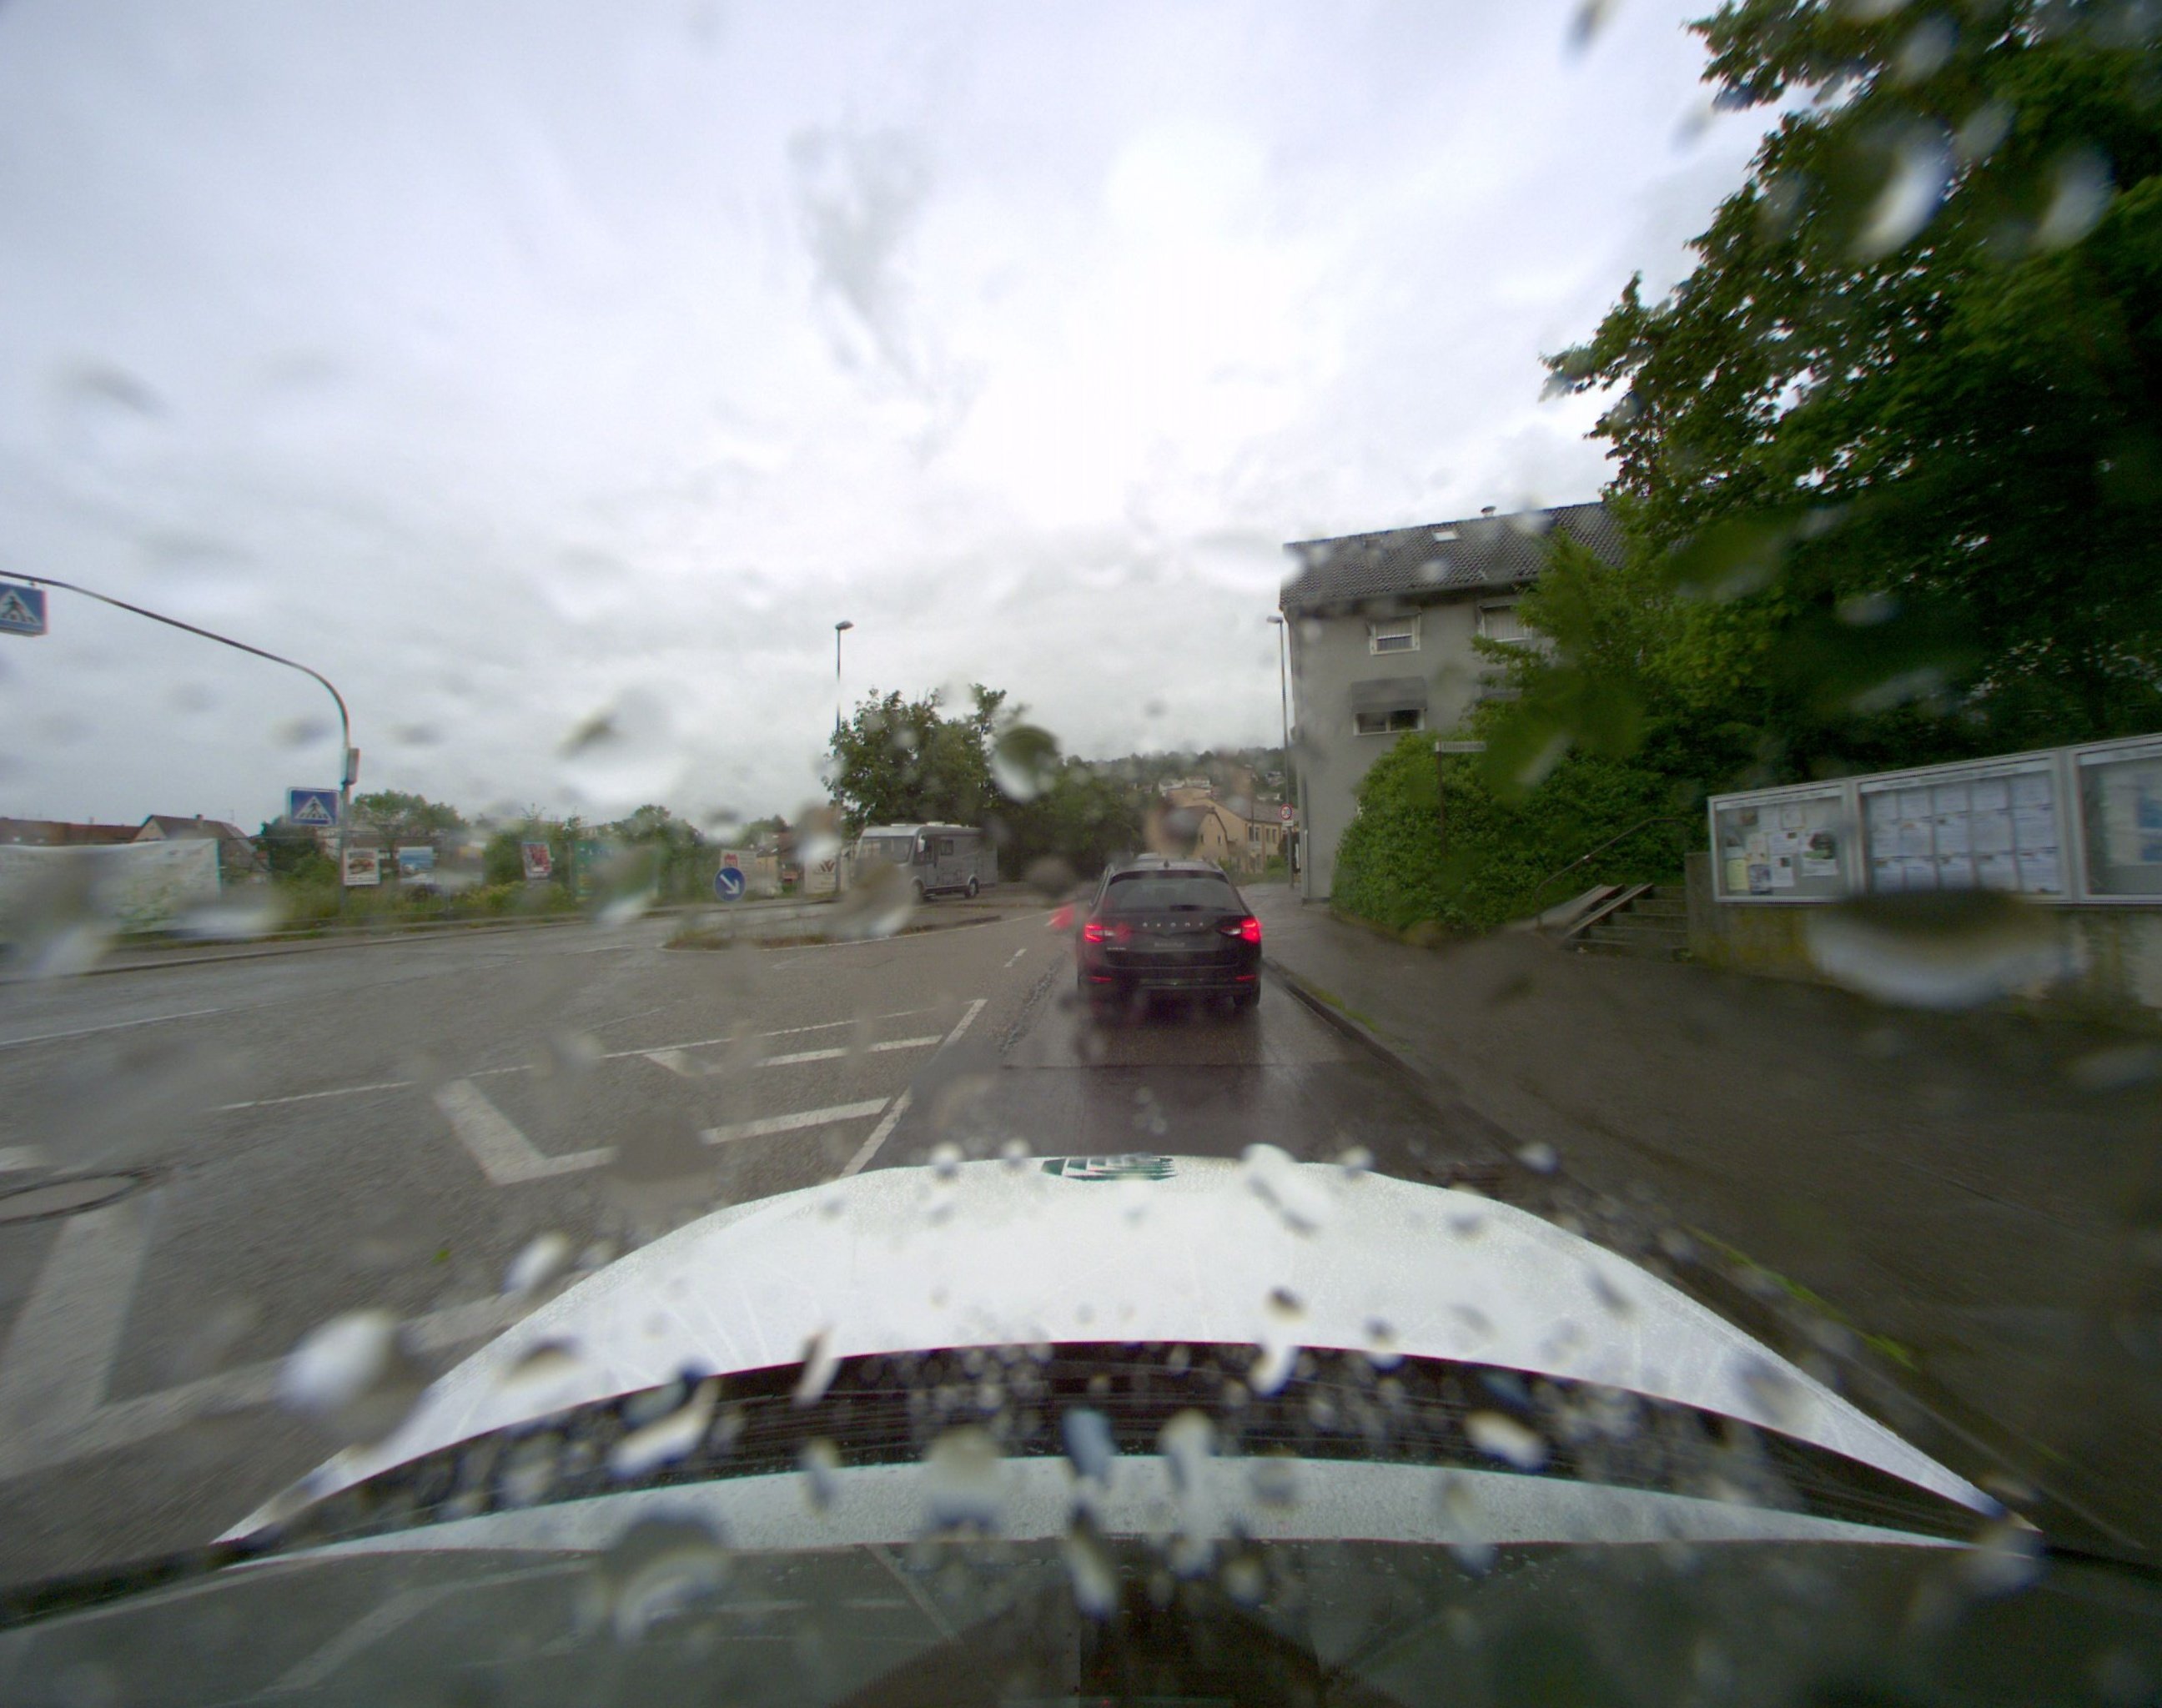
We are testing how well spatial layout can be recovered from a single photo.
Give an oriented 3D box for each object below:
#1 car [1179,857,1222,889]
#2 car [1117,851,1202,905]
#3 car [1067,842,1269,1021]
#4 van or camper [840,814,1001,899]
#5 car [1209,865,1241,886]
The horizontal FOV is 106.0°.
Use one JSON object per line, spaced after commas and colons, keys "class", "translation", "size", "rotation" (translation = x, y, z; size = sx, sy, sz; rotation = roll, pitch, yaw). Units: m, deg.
{"class": "car", "translation": [5.639, 0.868, 38.205], "size": [1.640, 1.387, 3.934], "rotation": [-1, 0, 13]}
{"class": "car", "translation": [2.347, 0.746, 23.362], "size": [1.805, 1.360, 4.003], "rotation": [-2, -4, 14]}
{"class": "car", "translation": [0.821, 0.657, 9.311], "size": [1.775, 1.483, 4.248], "rotation": [0, 2, 1]}
{"class": "van or camper", "translation": [-5.406, 0.114, 28.898], "size": [2.348, 2.656, 7.053], "rotation": [-1, -1, 19]}
{"class": "car", "translation": [11.092, 1.622, 62.848], "size": [1.985, 1.566, 4.003], "rotation": [0, -1, 3]}
